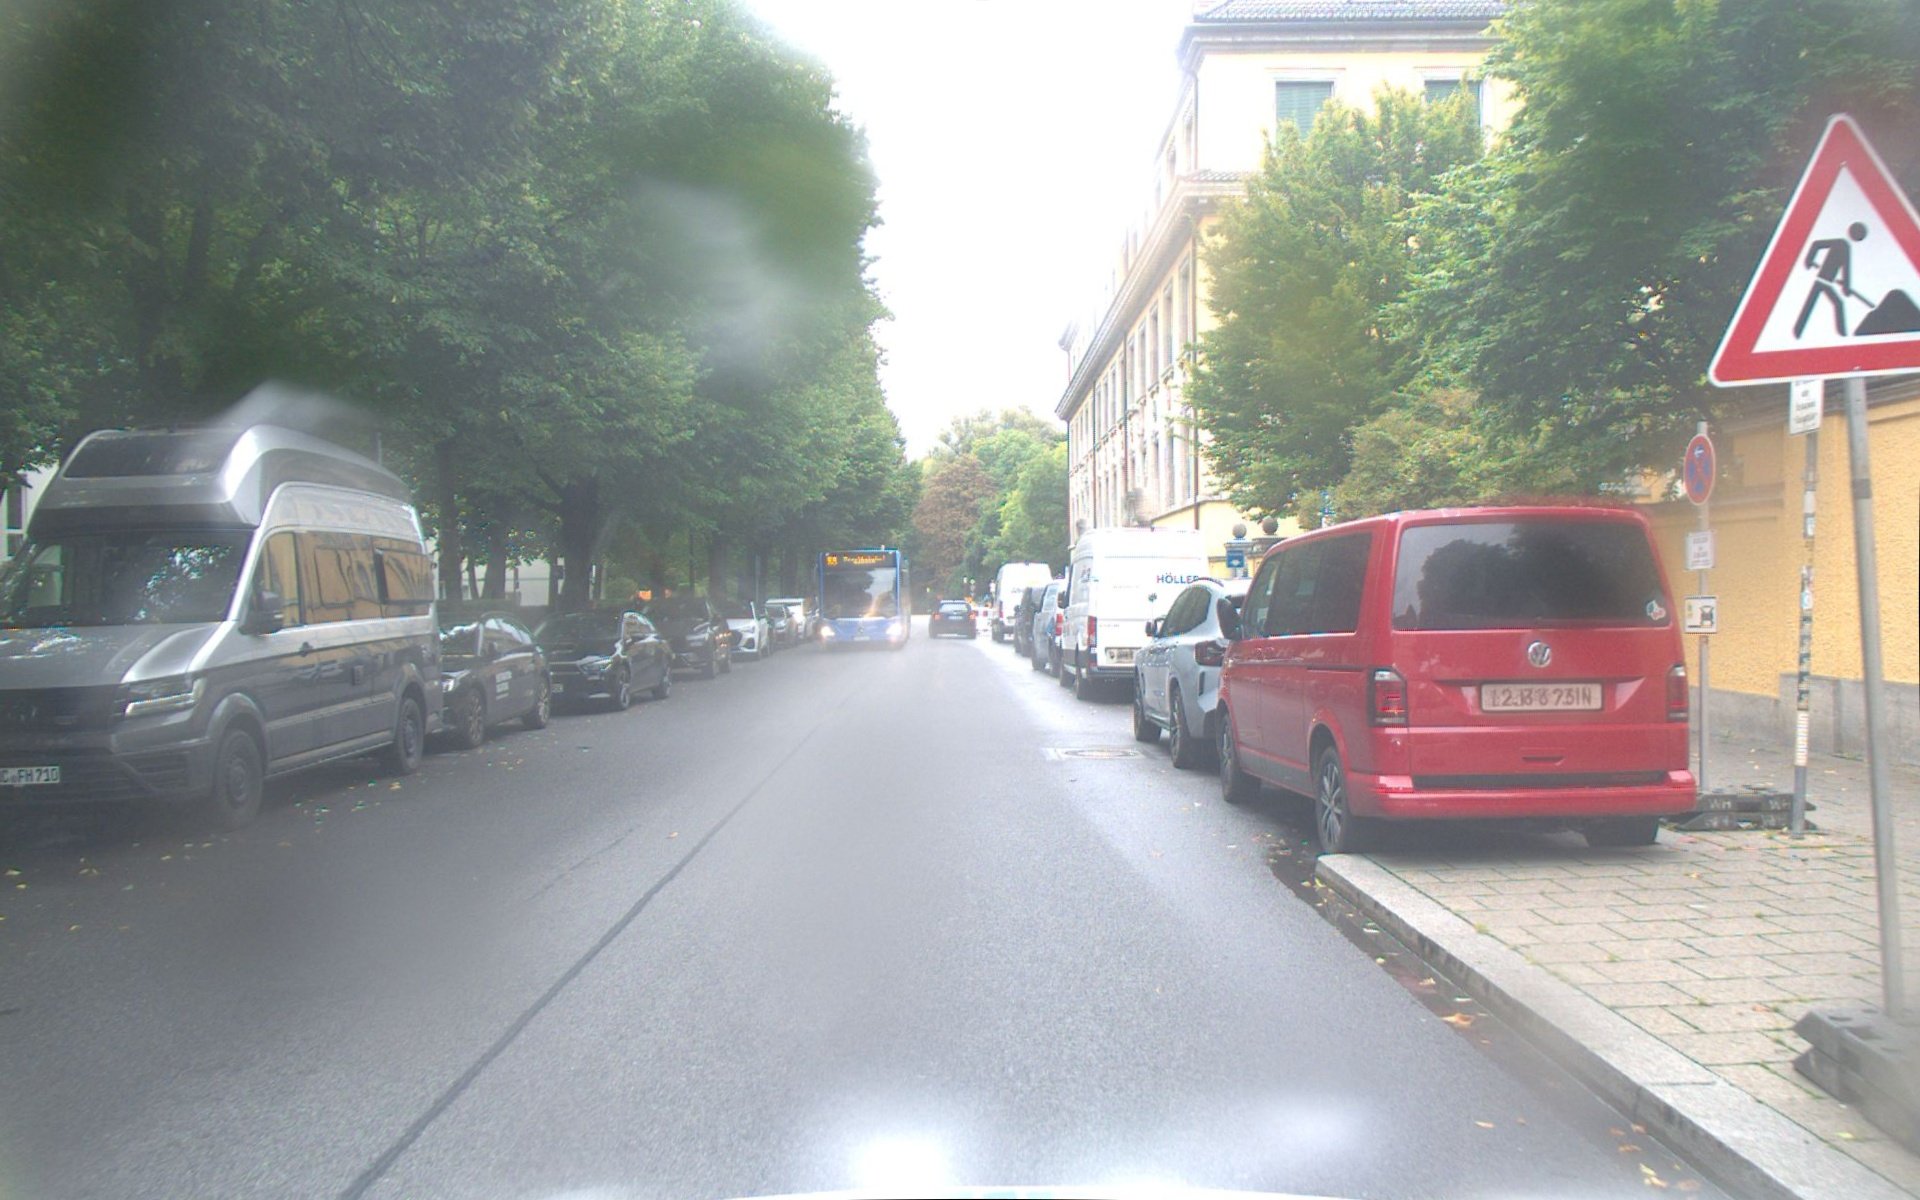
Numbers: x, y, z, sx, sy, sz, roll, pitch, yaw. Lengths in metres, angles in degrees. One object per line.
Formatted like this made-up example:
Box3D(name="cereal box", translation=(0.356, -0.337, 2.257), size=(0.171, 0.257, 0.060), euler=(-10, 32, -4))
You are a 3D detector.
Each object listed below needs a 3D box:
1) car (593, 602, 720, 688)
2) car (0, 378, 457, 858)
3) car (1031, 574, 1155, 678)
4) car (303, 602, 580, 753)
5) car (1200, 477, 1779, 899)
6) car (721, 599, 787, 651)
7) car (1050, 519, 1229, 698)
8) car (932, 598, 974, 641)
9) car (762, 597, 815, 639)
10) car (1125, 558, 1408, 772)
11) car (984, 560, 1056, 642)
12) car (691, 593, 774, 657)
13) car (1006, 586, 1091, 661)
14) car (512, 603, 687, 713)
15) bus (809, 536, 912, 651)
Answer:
Box3D(name="car", translation=(-5.583, 0.814, 30.848), size=(1.754, 1.479, 3.947), euler=(-1, -1, -2))
Box3D(name="car", translation=(-5.823, 0.160, 13.168), size=(1.906, 2.904, 6.233), euler=(-1, -1, -2))
Box3D(name="car", translation=(2.625, 0.500, 33.843), size=(1.973, 1.940, 5.162), euler=(0, 0, -2))
Box3D(name="car", translation=(-5.871, 0.802, 19.335), size=(1.753, 1.463, 4.578), euler=(-1, 1, 0))
Box3D(name="car", translation=(2.956, 0.464, 10.707), size=(1.821, 2.002, 5.442), euler=(-1, -1, -2))
Box3D(name="car", translation=(-6.285, 0.759, 50.752), size=(1.638, 1.495, 4.102), euler=(-1, 0, -2))
Box3D(name="car", translation=(2.728, 0.164, 26.568), size=(2.053, 2.531, 5.737), euler=(-1, -1, -2))
Box3D(name="car", translation=(-0.257, 0.753, 64.536), size=(1.545, 1.611, 4.044), euler=(-1, 0, 0))
Box3D(name="car", translation=(-6.253, 0.652, 60.692), size=(1.638, 1.495, 4.102), euler=(-1, 0, -2))
Box3D(name="car", translation=(2.789, 0.551, 16.099), size=(1.821, 1.772, 4.601), euler=(0, 0, -1))
Box3D(name="car", translation=(2.074, 0.063, 59.474), size=(2.013, 2.720, 7.610), euler=(-1, 0, -2))
Box3D(name="car", translation=(-6.114, 0.662, 44.830), size=(1.748, 1.625, 4.582), euler=(-1, 0, -2))
Box3D(name="car", translation=(2.353, 0.619, 45.041), size=(1.833, 1.902, 4.984), euler=(-1, 0, -2))
Box3D(name="car", translation=(-5.311, 0.827, 24.901), size=(1.754, 1.463, 4.549), euler=(-1, -1, -2))
Box3D(name="bus", translation=(-3.140, -0.049, 57.164), size=(2.801, 3.296, 18.419), euler=(-1, -1, -1))
